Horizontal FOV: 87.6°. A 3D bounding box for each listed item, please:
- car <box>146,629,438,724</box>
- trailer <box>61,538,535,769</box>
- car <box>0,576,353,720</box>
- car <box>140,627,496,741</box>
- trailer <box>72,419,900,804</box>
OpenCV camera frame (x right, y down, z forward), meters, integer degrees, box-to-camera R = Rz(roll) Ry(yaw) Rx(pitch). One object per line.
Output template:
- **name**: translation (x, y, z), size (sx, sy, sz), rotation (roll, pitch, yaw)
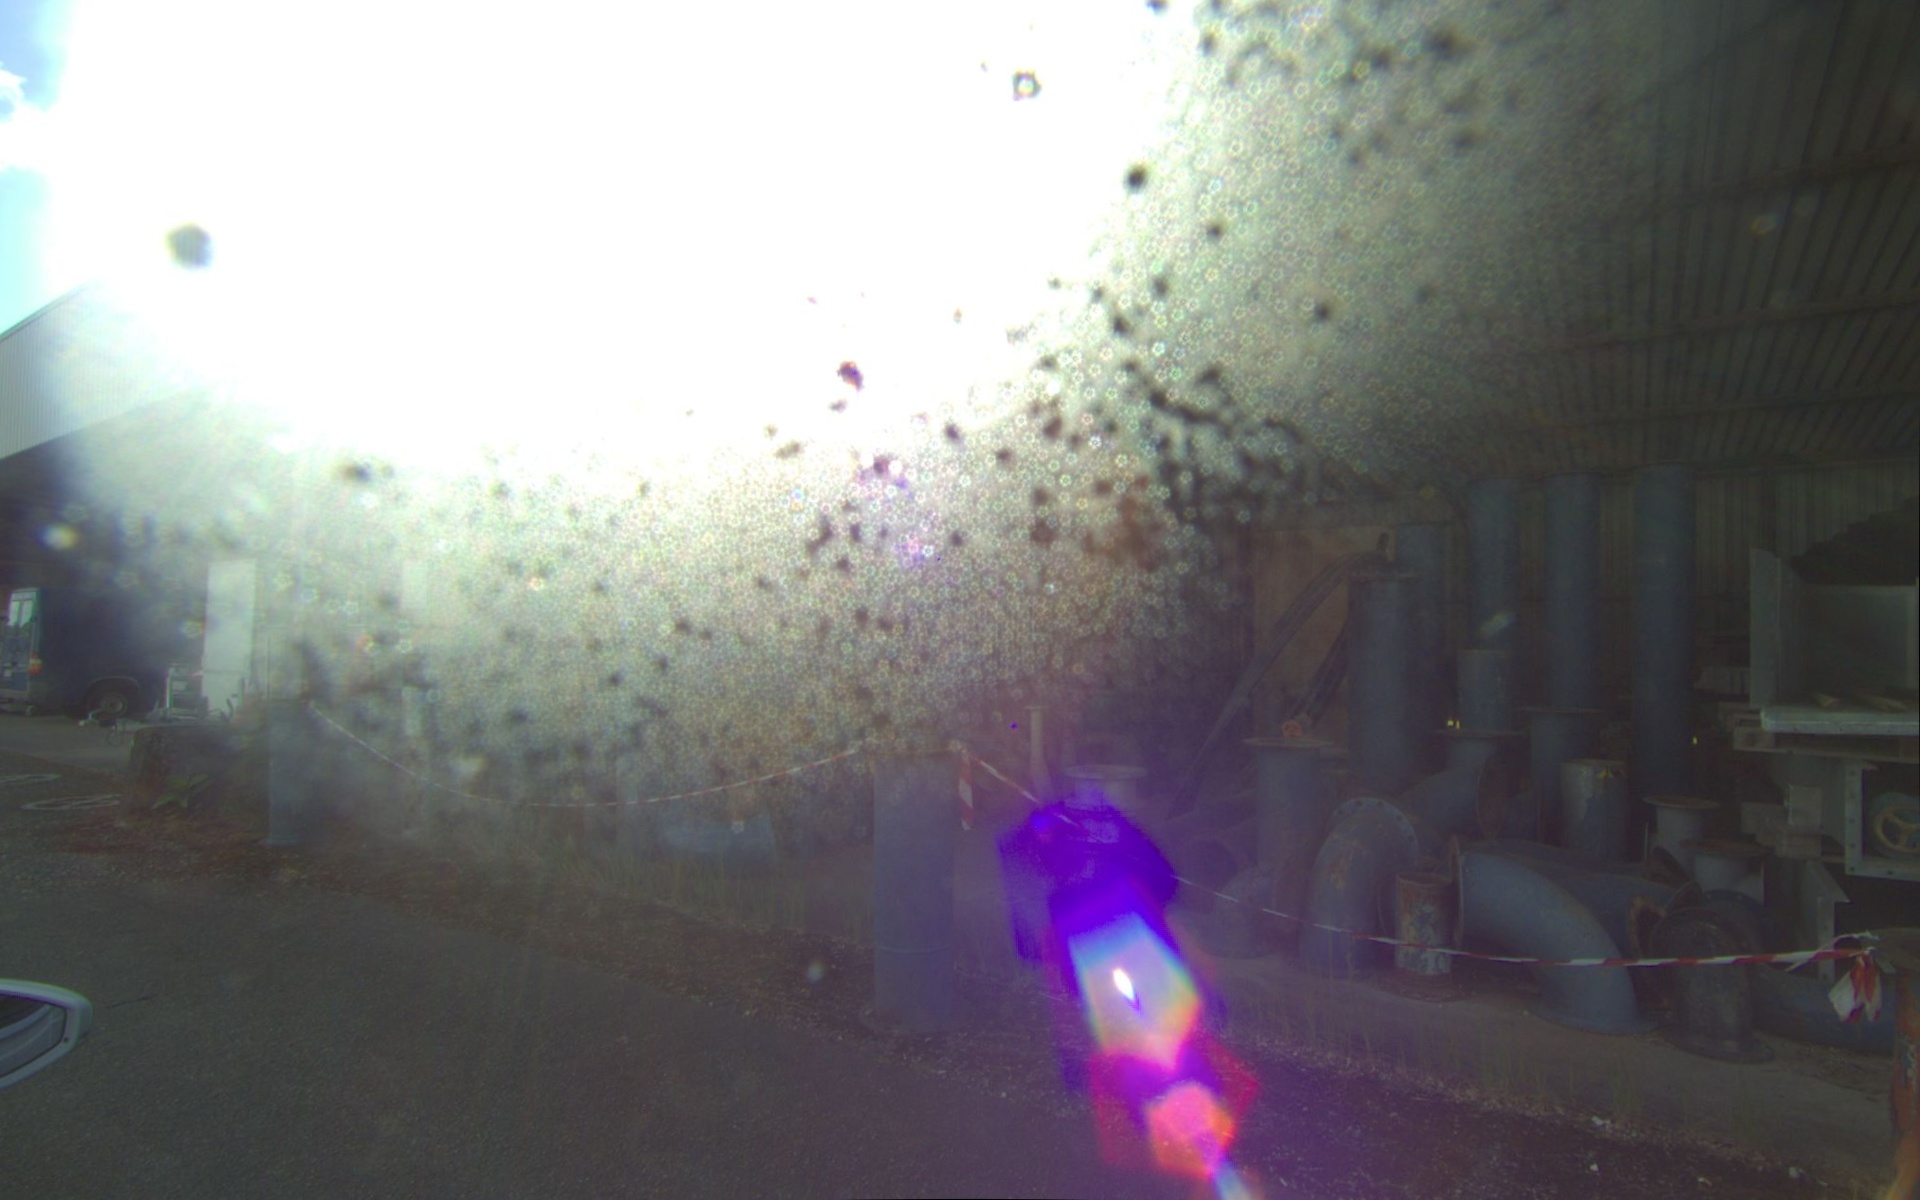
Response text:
- **car**: translation (-11.797, 1.309, 17.958), size (1.761, 1.491, 3.984), rotation (-1, -3, 30)
- **trailer**: translation (-8.277, 0.676, 12.990), size (1.805, 2.421, 4.795), rotation (-1, -3, 39)
- **car**: translation (-14.642, 0.912, 18.967), size (1.973, 2.354, 4.968), rotation (-1, -3, 34)
- **car**: translation (-9.711, 1.214, 15.528), size (1.752, 1.515, 4.323), rotation (-1, -3, 32)
- **trailer**: translation (-4.958, 0.317, 13.439), size (2.815, 3.256, 10.017), rotation (-1, -3, 34)
